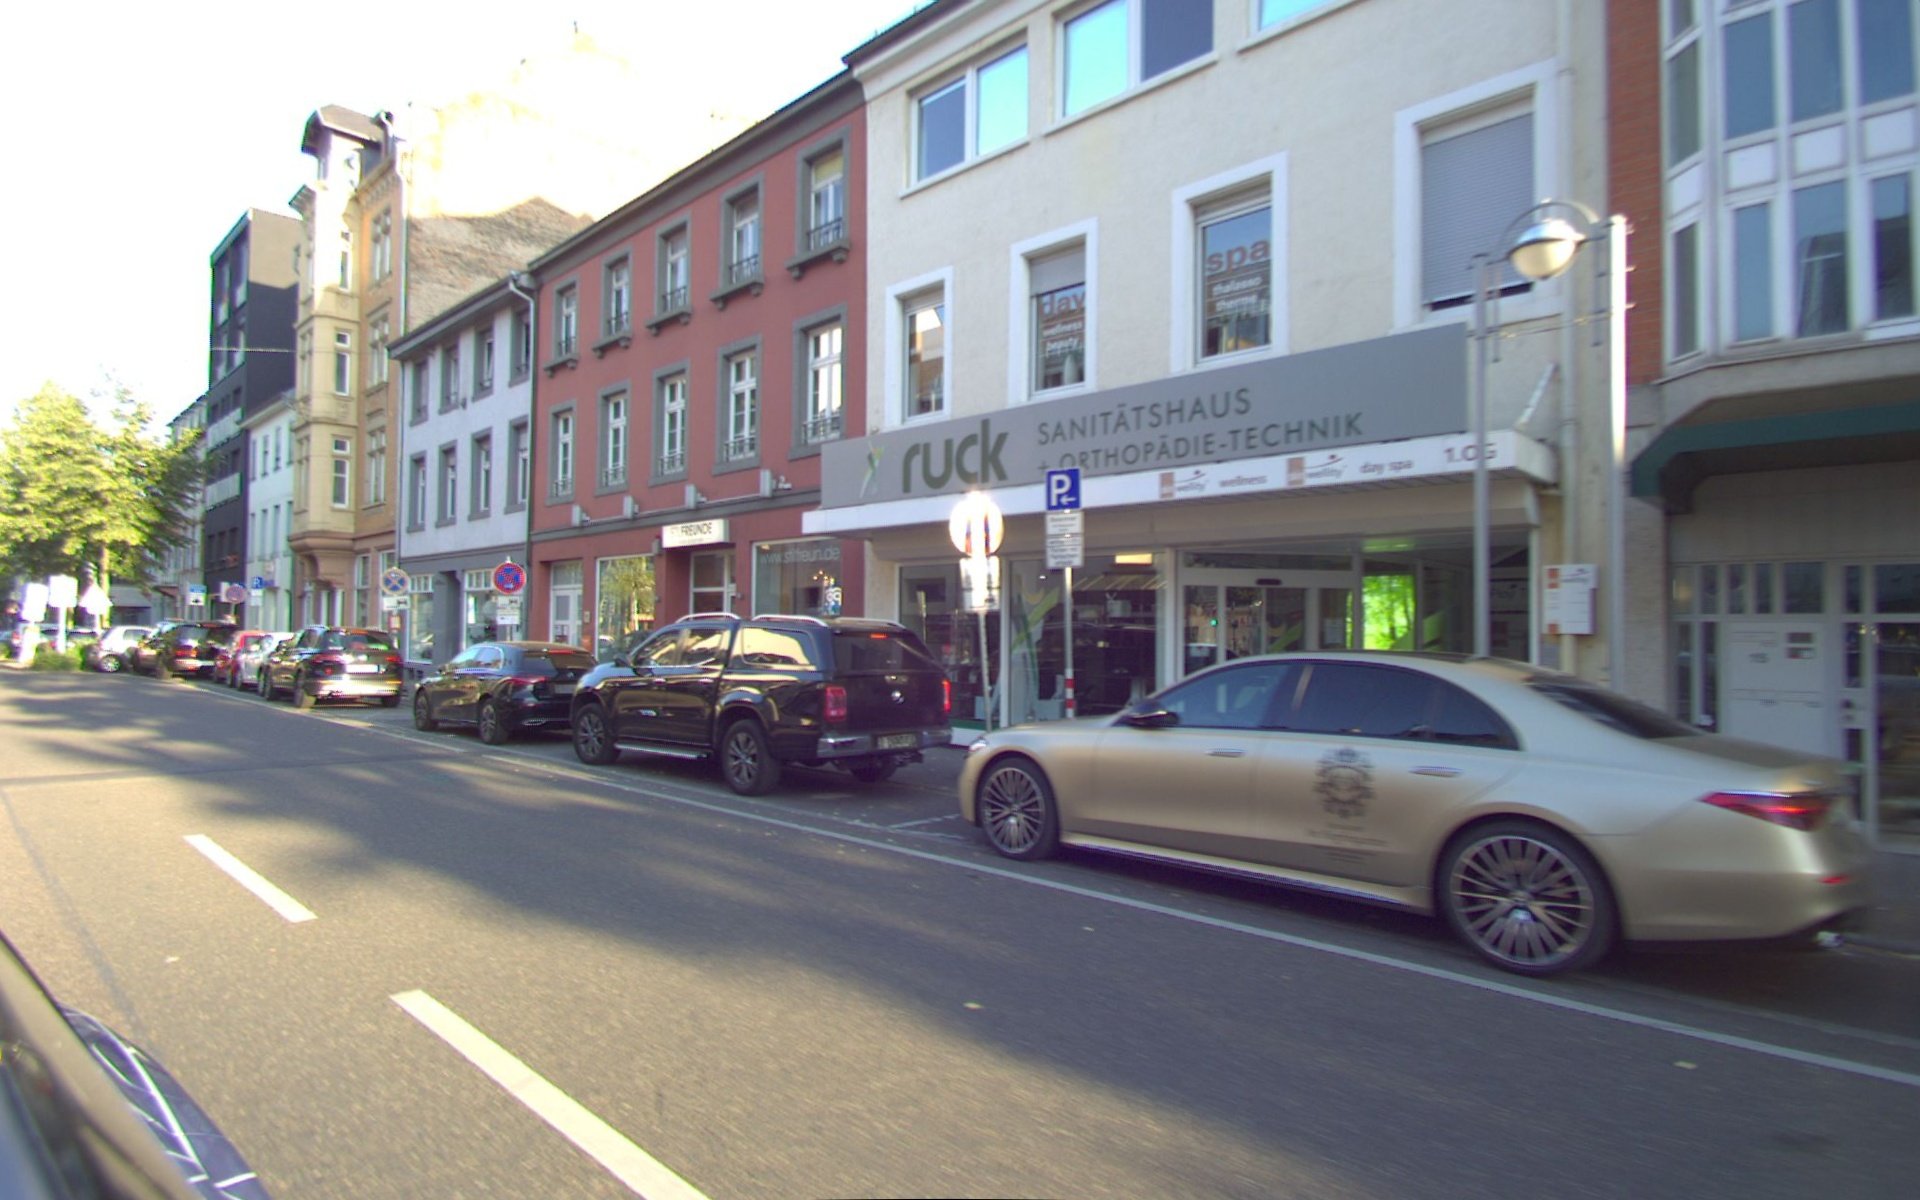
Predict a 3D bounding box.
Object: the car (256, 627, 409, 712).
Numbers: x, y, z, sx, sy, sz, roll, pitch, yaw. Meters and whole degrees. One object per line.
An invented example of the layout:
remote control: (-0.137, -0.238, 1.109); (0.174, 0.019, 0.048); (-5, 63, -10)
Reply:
car: (-13.320, 1.410, 21.388); (4.219, 1.626, 1.746); (-2, -4, 45)

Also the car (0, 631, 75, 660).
car: (-55.652, 2.703, 60.108); (2.045, 1.640, 4.157); (0, -3, 26)

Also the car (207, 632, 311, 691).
car: (-19.136, 1.639, 27.585); (3.543, 1.475, 1.666); (-2, -4, 44)

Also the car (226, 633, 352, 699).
car: (-16.401, 1.567, 24.679); (3.868, 1.475, 1.746); (-2, -4, 44)

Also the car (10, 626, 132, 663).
car: (-42.680, 2.155, 48.646); (1.995, 1.689, 4.078); (-1, -4, 40)

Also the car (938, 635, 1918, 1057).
car: (2.355, 1.009, 6.242); (5.115, 1.522, 1.971); (-2, -4, 45)

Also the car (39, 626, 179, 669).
car: (-33.251, 1.858, 39.622); (1.957, 1.594, 3.861); (-1, -4, 38)

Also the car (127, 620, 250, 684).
car: (-23.185, 1.530, 30.358); (4.214, 1.766, 2.028); (-1, -4, 41)

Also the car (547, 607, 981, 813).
car: (-2.413, 1.052, 11.352); (5.298, 1.783, 1.972); (-1, -4, 42)

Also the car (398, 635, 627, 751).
car: (-6.939, 1.320, 15.488); (4.219, 1.522, 1.746); (-2, -4, 45)

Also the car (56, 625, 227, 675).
car: (-27.741, 1.715, 34.398); (2.054, 1.594, 4.139); (-1, -4, 38)

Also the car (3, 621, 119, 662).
car: (-46.419, 2.172, 52.330); (2.054, 1.998, 4.139); (-1, -4, 38)
